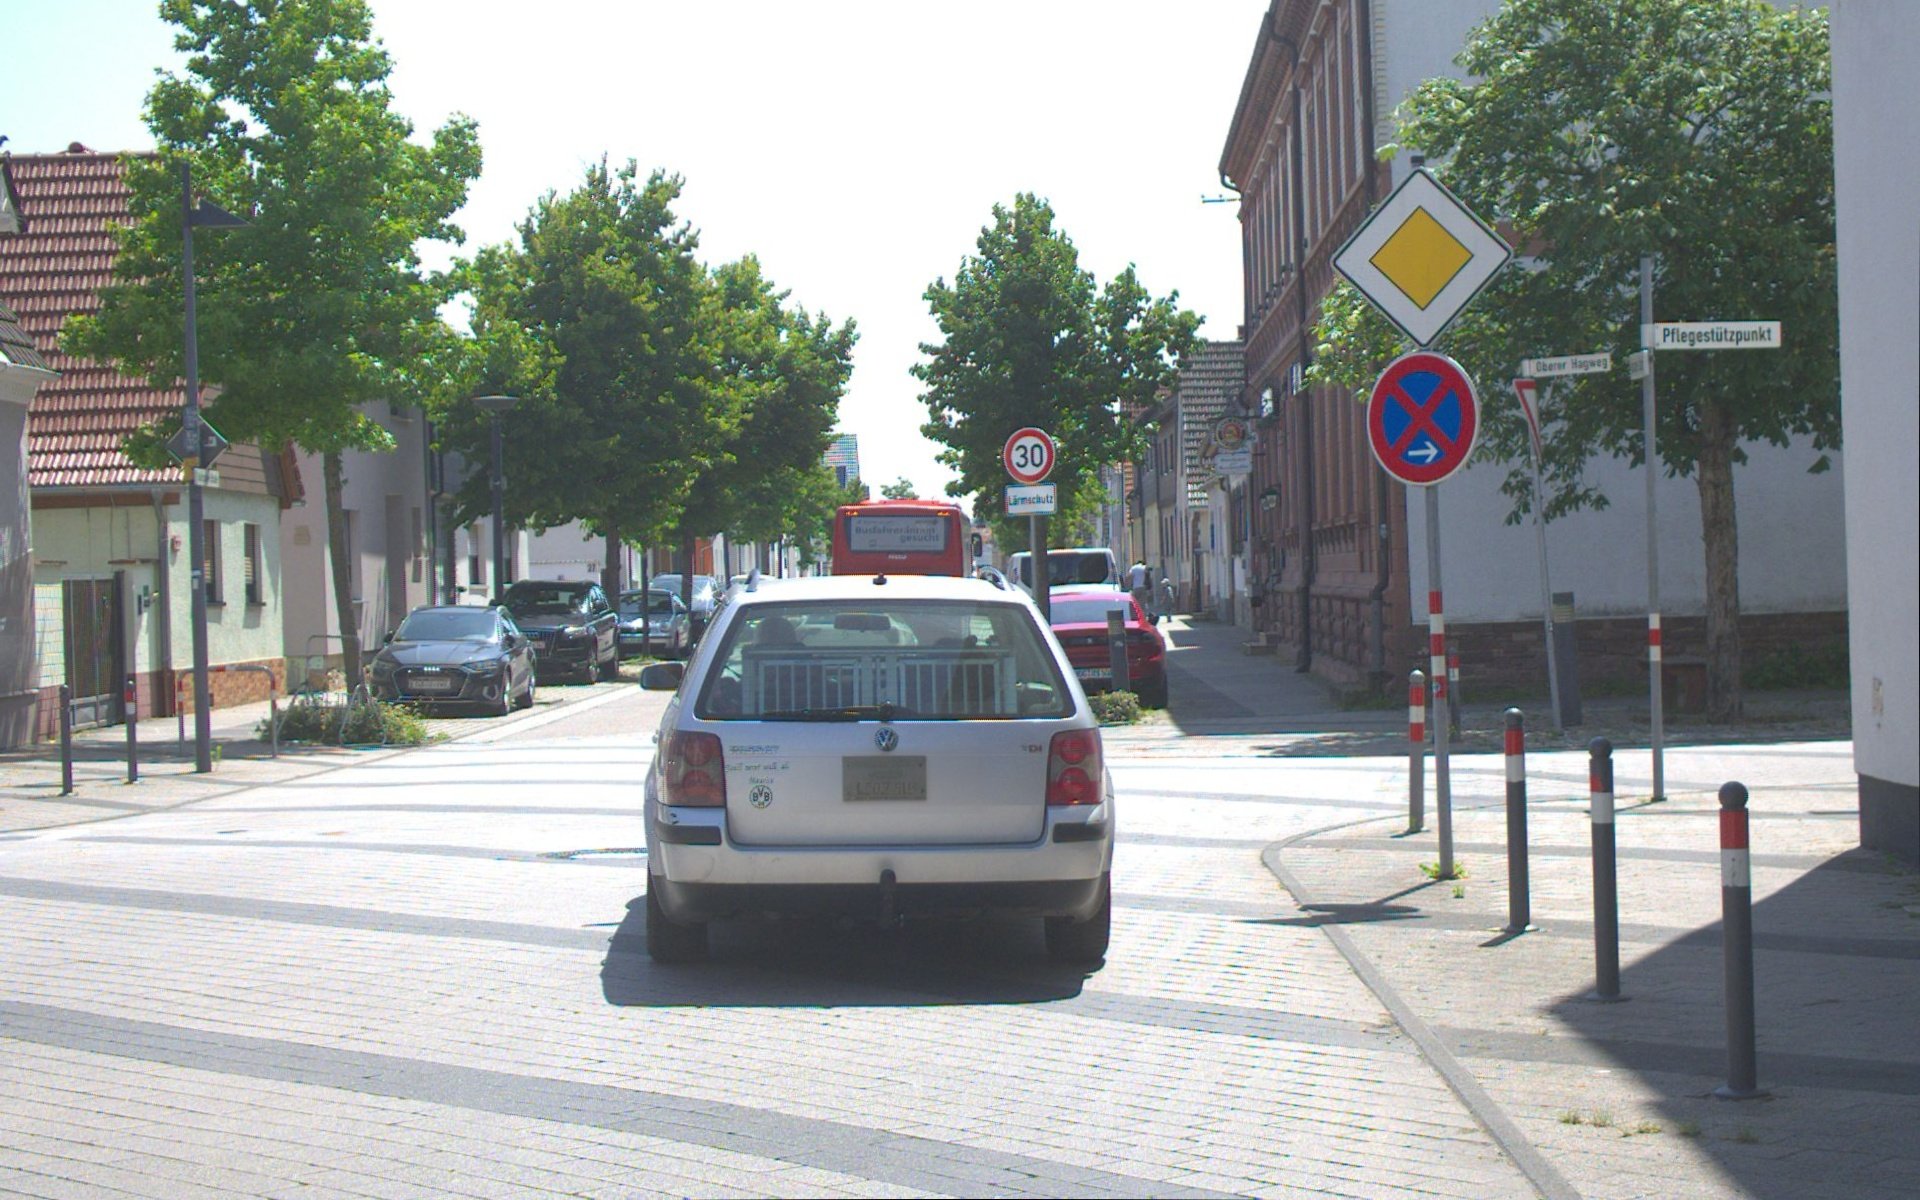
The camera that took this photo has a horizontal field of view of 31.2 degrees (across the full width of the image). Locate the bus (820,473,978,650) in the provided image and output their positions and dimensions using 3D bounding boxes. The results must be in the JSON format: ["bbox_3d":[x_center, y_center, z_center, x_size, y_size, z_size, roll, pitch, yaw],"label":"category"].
[{"bbox_3d":[-1.114,-0.720,71.088,2.740,3.287,12.704,-1,0,1],"label":"bus"}]

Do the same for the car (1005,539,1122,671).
[{"bbox_3d":[1.685,0.076,56.882,1.788,2.075,3.626,-1,0,0],"label":"car"}]

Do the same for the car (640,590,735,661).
[{"bbox_3d":[-6.278,0.568,79.557,1.811,1.553,4.000,-1,0,0],"label":"car"}]

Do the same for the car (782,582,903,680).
[{"bbox_3d":[-1.737,0.445,51.813,1.594,1.426,3.679,0,0,1],"label":"car"}]

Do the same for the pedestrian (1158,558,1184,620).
[{"bbox_3d":[5.737,-0.304,93.390,0.606,1.661,0.789,-1,0,-1],"label":"pedestrian"}]

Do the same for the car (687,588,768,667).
[{"bbox_3d":[-6.146,0.704,91.243,1.811,1.989,4.000,-1,0,0],"label":"car"}]

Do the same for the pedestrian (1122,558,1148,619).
[{"bbox_3d":[4.775,-0.316,93.765,0.606,1.661,0.789,-1,0,-1],"label":"pedestrian"}]

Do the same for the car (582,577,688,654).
[{"bbox_3d":[-6.846,0.315,72.830,1.811,1.553,4.000,-1,0,0],"label":"car"}]

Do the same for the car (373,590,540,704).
[{"bbox_3d":[-6.763,0.605,46.501,1.605,1.433,4.065,-1,0,0],"label":"car"}]

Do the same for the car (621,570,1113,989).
[{"bbox_3d":[-0.304,0.607,13.612,1.677,1.426,3.679,0,0,0],"label":"car"}]

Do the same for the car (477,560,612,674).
[{"bbox_3d":[-7.008,0.270,58.243,1.764,1.831,3.789,-1,0,0],"label":"car"}]

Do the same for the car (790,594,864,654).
[{"bbox_3d":[-3.634,0.635,94.511,1.811,1.553,4.000,-1,0,0],"label":"car"}]

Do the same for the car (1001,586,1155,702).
[{"bbox_3d":[1.386,0.502,41.681,1.719,1.304,3.626,-1,0,0],"label":"car"}]

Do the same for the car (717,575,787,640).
[{"bbox_3d":[-5.978,0.209,99.086,1.720,1.796,4.000,-1,0,0],"label":"car"}]
